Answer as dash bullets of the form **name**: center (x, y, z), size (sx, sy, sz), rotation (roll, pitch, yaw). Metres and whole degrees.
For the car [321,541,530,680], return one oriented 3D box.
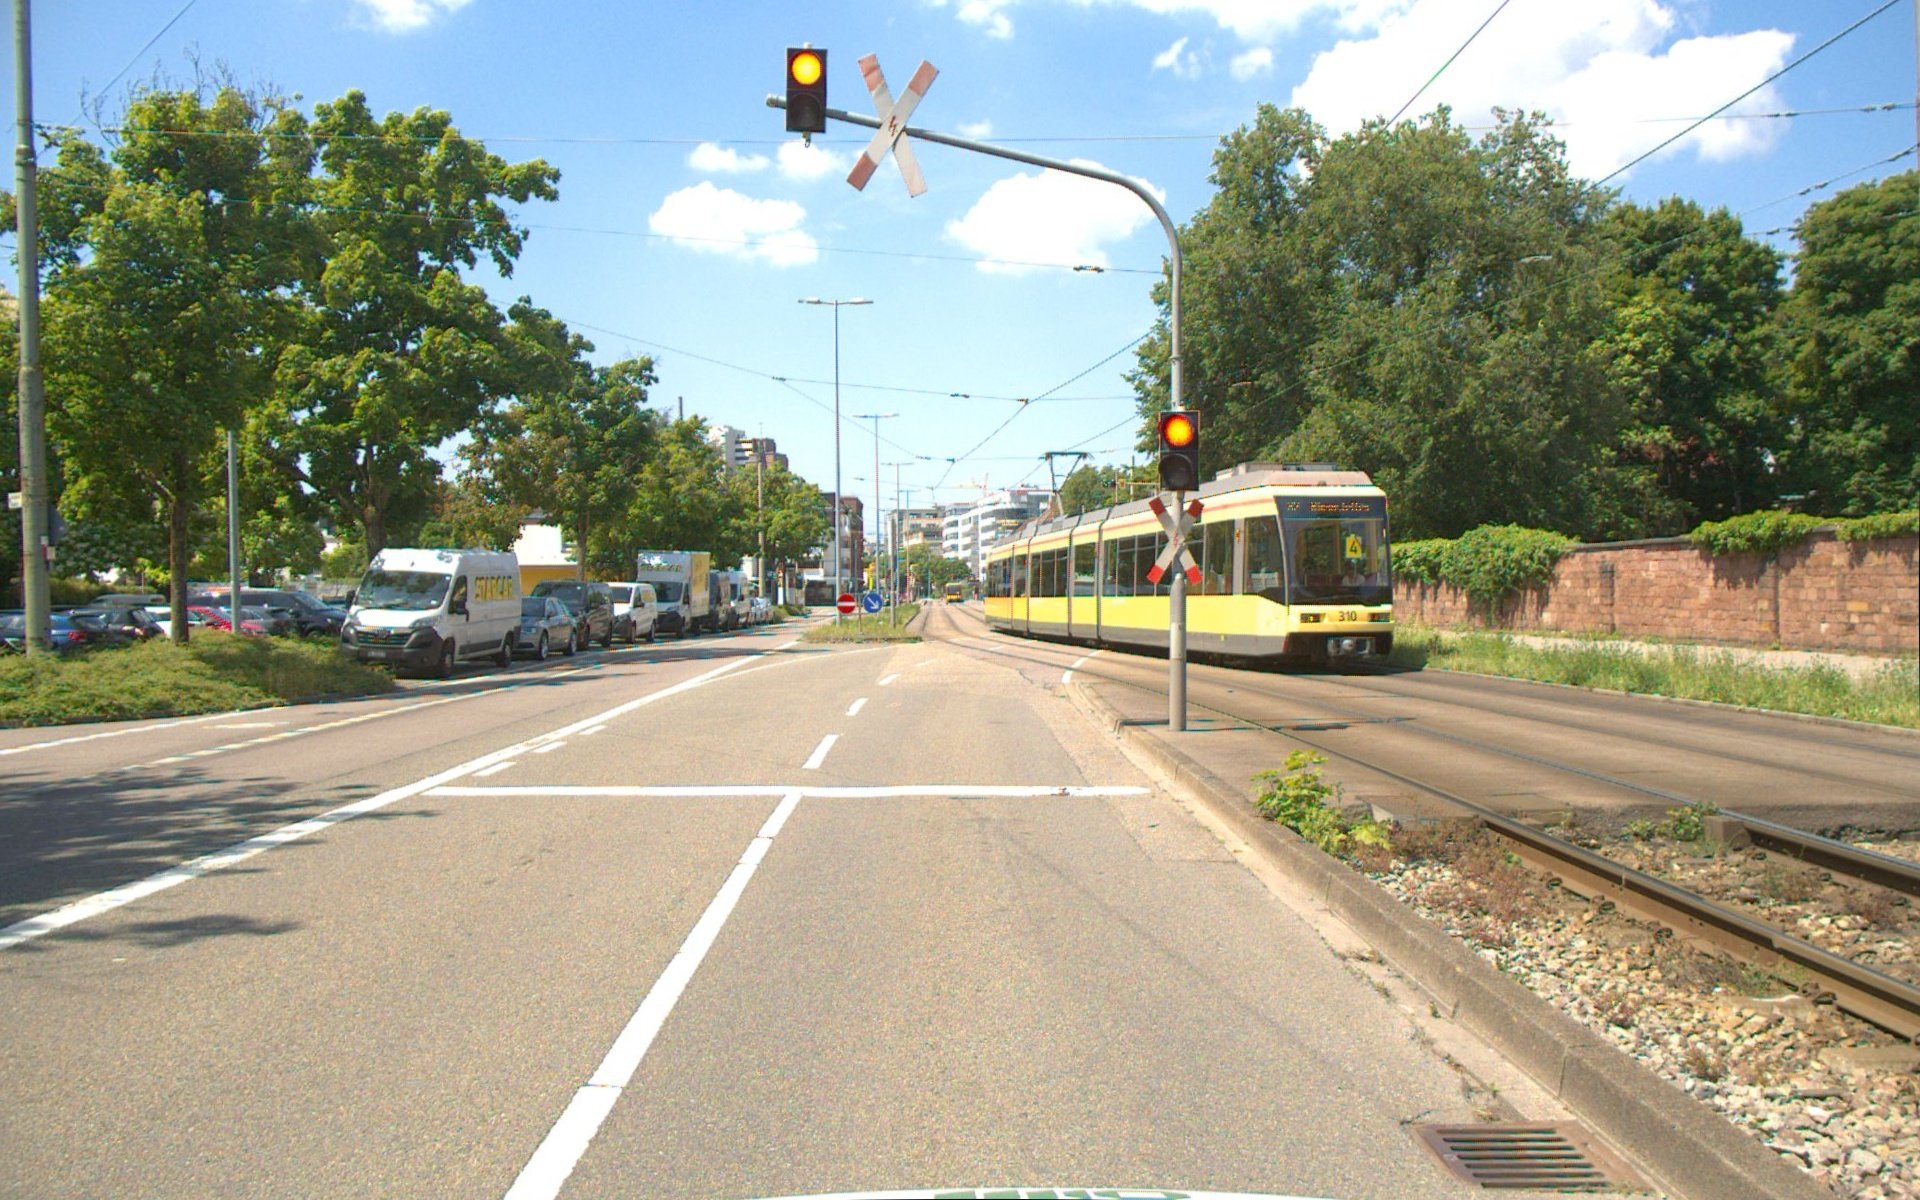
- **car**: center (-10.895, 0.175, 34.324), size (2.112, 2.530, 6.194), rotation (2, 0, 1)

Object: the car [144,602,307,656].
- **car**: center (-21.462, 0.837, 48.436), size (3.906, 1.467, 1.805), rotation (-1, 0, -2)

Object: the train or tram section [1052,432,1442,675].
- **train or tram section**: center (5.008, -0.806, 34.935), size (2.888, 3.756, 18.360), rotation (0, 1, -7)

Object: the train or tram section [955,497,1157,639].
- **train or tram section**: center (2.529, -0.940, 54.007), size (2.888, 3.756, 20.250), rotation (0, 1, -7)

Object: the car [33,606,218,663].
- **car**: center (-21.848, 0.880, 43.400), size (3.907, 1.362, 1.804), rotation (-1, 0, -2)

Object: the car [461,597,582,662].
- **car**: center (-10.739, 0.691, 40.814), size (1.830, 1.462, 4.342), rotation (-1, 0, 0)

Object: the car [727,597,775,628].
- **car**: center (-11.470, 0.650, 91.234), size (2.019, 1.609, 4.871), rotation (-1, 0, 0)

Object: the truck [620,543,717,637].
- **truck**: center (-10.922, -0.381, 62.485), size (2.112, 3.266, 7.083), rotation (2, 0, 1)

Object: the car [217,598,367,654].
- **car**: center (-20.748, 0.782, 51.449), size (3.907, 1.634, 1.804), rotation (-1, 0, -2)

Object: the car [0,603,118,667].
- **car**: center (-21.431, 0.791, 37.309), size (3.907, 1.362, 1.804), rotation (-1, 0, -2)

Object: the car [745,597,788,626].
- **car**: center (-11.512, 0.658, 98.737), size (2.019, 1.609, 4.871), rotation (-1, 0, 0)

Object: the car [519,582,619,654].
- **car**: center (-11.098, 0.464, 47.239), size (1.830, 1.928, 4.270), rotation (-1, 0, 0)

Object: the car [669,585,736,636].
- **car**: center (-10.833, 0.411, 69.886), size (2.019, 2.011, 4.871), rotation (-1, 0, 0)

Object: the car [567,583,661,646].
- **car**: center (-11.187, 0.444, 53.832), size (2.019, 1.931, 4.871), rotation (-1, 0, 0)

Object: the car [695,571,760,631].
- **car**: center (-10.902, 0.018, 77.847), size (2.112, 2.685, 5.612), rotation (1, 0, 1)

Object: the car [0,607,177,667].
- **car**: center (-21.705, 0.888, 40.764), size (3.907, 1.362, 1.804), rotation (-1, 0, -2)

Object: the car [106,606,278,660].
- **car**: center (-21.299, 0.896, 45.976), size (3.907, 1.362, 1.804), rotation (-1, 0, -2)

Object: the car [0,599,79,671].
- **car**: center (-21.040, 0.750, 34.894), size (3.907, 1.467, 1.804), rotation (-1, 0, -2)
